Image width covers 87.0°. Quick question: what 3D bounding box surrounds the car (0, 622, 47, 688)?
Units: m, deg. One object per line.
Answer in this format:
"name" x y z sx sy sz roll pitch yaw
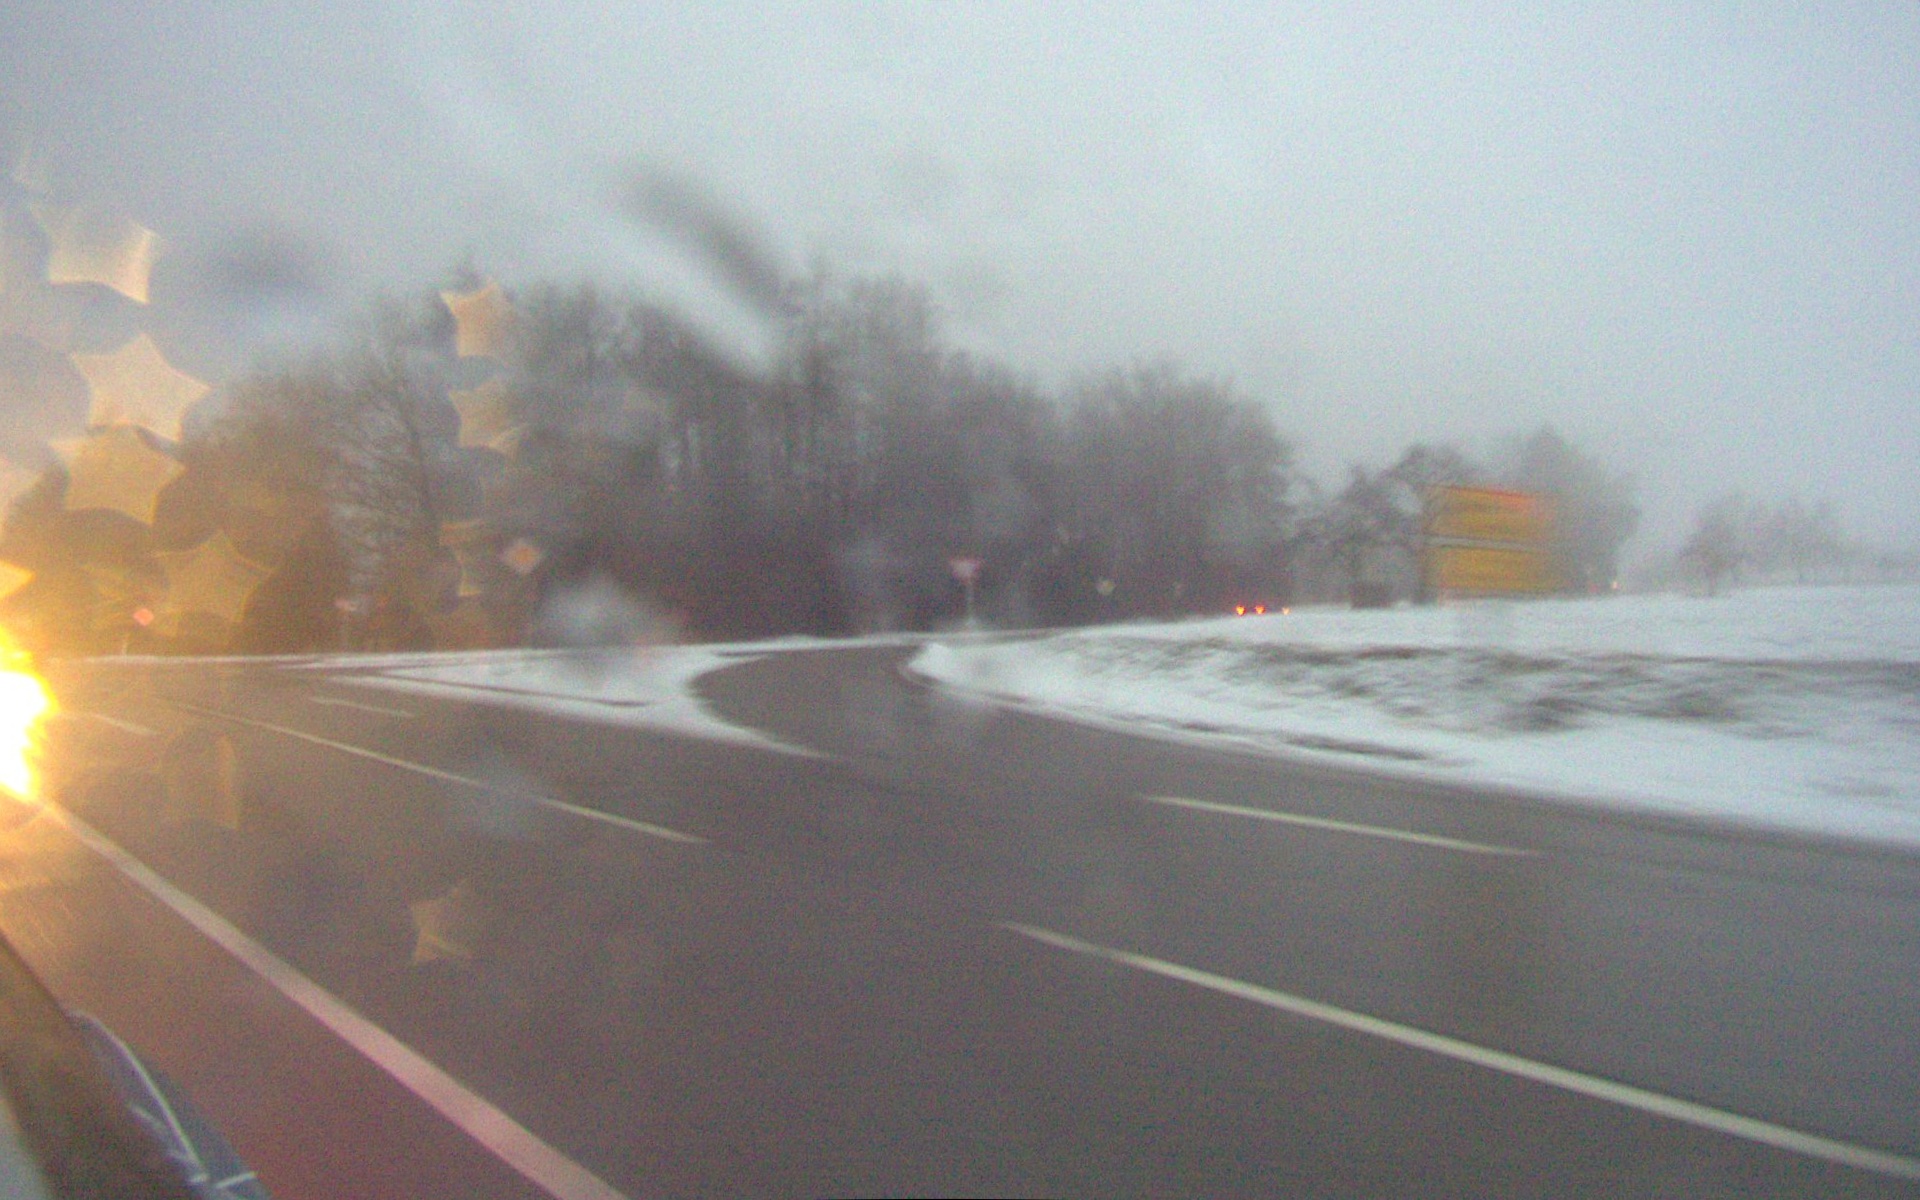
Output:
"car" -21.605 1.203 21.609 1.697 1.445 3.687 -1 -2 -16

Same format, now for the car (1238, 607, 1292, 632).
"car" 18.486 1.163 61.285 3.361 1.463 1.578 0 -2 -43
